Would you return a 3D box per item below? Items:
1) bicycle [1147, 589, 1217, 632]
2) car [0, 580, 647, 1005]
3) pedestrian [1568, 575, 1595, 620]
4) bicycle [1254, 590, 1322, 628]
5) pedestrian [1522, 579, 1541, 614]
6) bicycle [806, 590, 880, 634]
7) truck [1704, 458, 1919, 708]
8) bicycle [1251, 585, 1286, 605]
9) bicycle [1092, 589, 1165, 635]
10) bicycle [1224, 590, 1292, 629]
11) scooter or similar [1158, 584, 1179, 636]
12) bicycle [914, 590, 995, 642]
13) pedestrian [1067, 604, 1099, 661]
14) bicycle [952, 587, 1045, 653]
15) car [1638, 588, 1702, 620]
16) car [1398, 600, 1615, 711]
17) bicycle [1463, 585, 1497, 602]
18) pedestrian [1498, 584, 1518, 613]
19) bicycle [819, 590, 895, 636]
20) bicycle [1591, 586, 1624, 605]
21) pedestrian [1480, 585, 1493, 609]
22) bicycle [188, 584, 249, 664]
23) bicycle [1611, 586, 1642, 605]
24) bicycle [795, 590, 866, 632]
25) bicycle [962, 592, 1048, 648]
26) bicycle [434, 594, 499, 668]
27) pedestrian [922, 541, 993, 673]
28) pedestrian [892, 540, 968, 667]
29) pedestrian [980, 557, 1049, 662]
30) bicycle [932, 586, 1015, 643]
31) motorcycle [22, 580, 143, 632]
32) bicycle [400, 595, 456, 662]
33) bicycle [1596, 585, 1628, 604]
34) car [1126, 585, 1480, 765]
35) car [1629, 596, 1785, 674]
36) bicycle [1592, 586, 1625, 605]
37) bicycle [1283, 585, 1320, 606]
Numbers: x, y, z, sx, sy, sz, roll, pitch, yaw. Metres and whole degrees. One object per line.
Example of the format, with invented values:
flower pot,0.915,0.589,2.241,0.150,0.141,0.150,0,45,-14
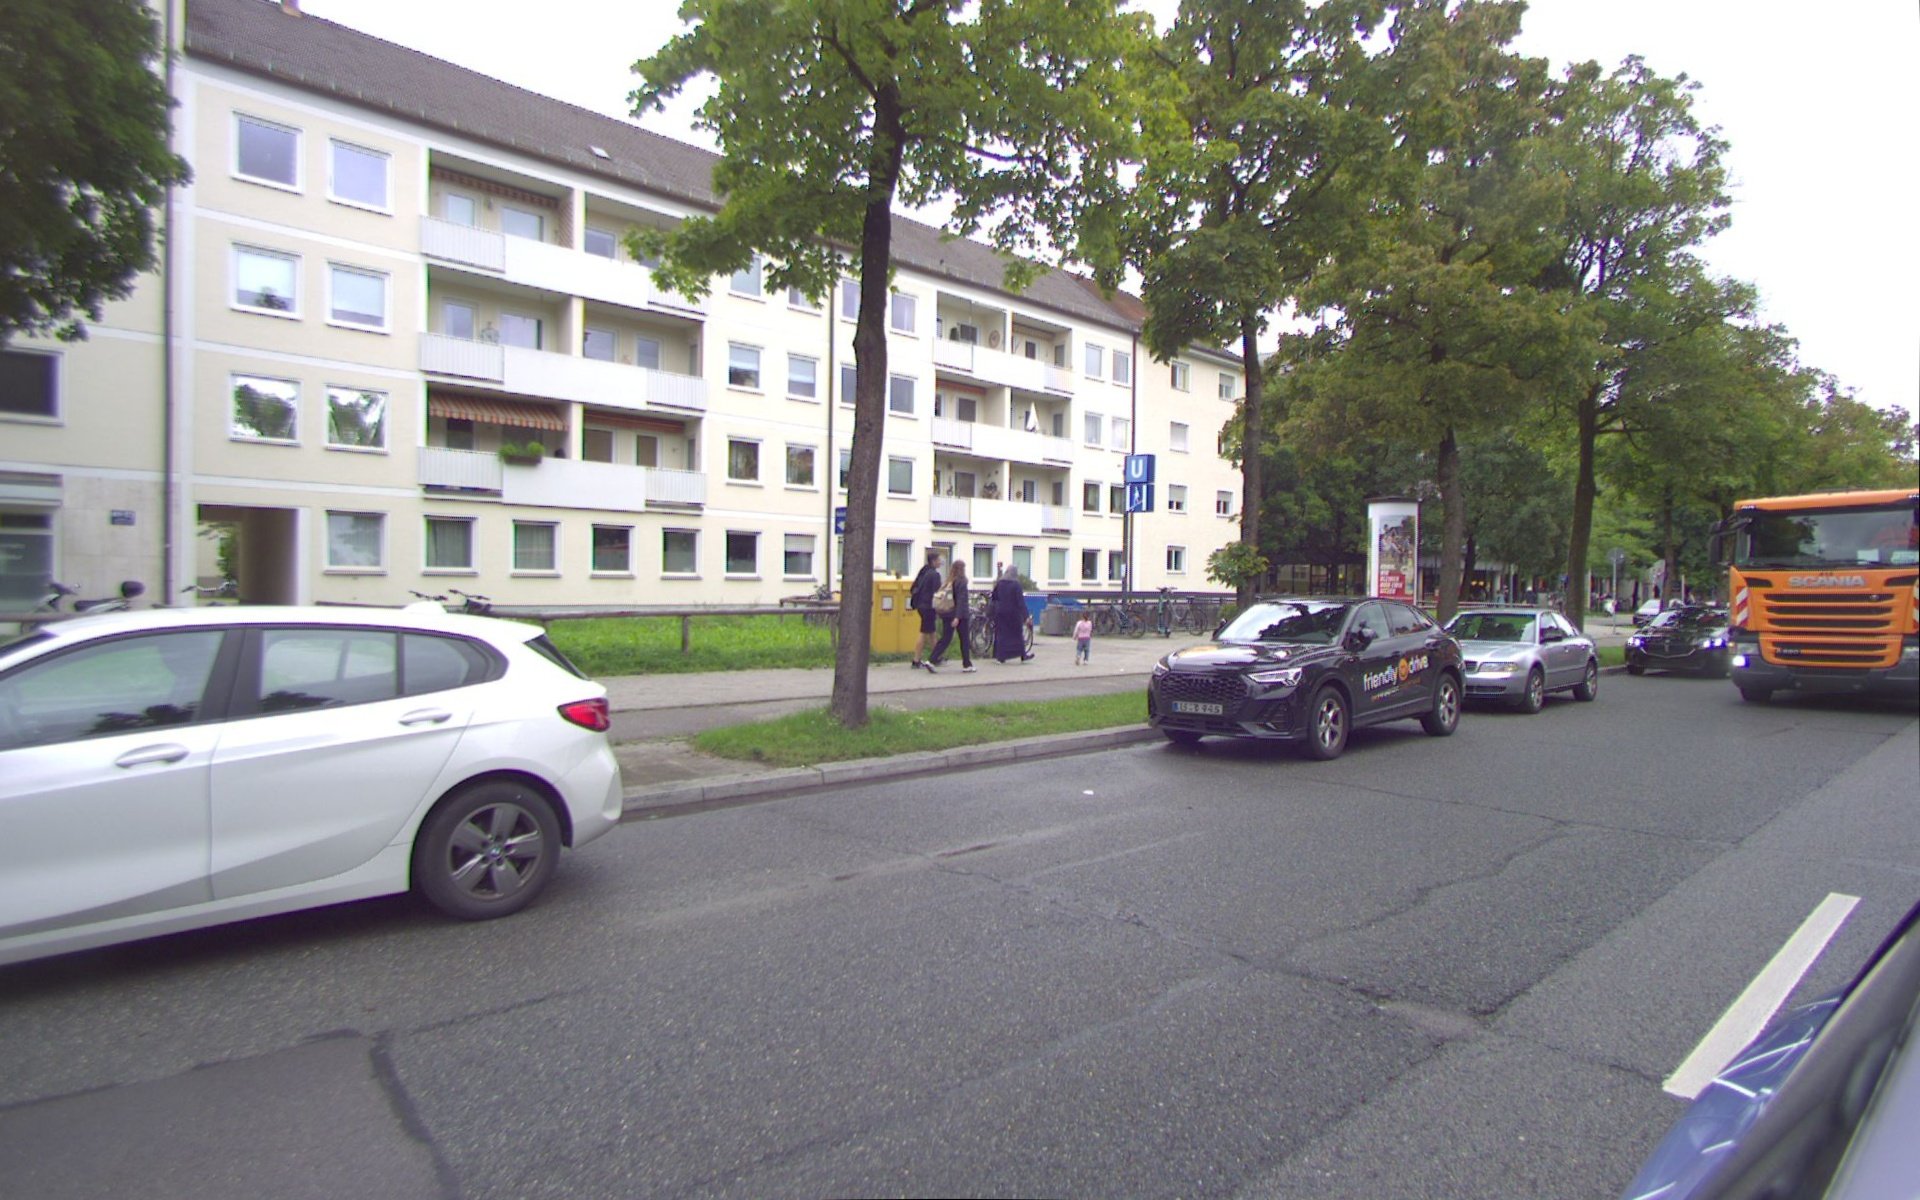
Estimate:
bicycle,5.839,0.260,26.681,0.425,1.041,1.879,0,2,-43
car,-3.660,0.689,4.421,4.066,1.484,1.684,0,-1,-42
pedestrian,24.773,-0.093,40.330,0.835,1.771,0.640,1,2,-43
bicycle,9.676,0.248,29.868,1.876,1.041,0.426,3,2,42
pedestrian,28.558,-0.169,50.572,0.628,1.752,0.602,0,0,-21
bicycle,-2.863,0.286,24.870,1.850,1.041,0.432,0,2,-41
truck,15.239,-0.232,16.651,8.975,3.229,3.043,0,0,-42
bicycle,15.853,-0.266,52.007,0.448,0.983,1.693,1,1,-44
bicycle,4.145,0.281,25.014,0.425,1.041,1.879,0,2,-43
bicycle,8.535,0.251,29.052,0.425,1.041,1.879,0,2,-43
scooter or similar,5.175,0.237,25.148,0.352,1.215,1.388,1,2,6
bicycle,-0.096,0.324,21.398,1.850,1.041,0.432,0,2,-41
pedestrian,2.099,0.550,17.335,0.400,0.961,0.436,1,1,-13
bicycle,0.714,0.353,18.338,1.850,1.147,0.432,1,1,-41
car,39.182,0.182,55.831,4.122,1.654,1.826,0,2,-39
car,8.109,0.709,14.849,4.174,1.403,1.637,0,0,-44
bicycle,36.268,-0.430,70.650,0.447,1.134,2.079,1,1,-41
pedestrian,30.122,-0.076,55.631,0.568,1.594,0.783,0,0,-21
bicycle,-2.424,0.294,24.021,1.850,1.041,0.432,0,2,-41
bicycle,56.202,-0.405,87.885,0.638,1.551,2.312,0,1,-41
pedestrian,35.225,-0.176,67.738,0.625,1.561,0.655,3,3,25
bicycle,-9.494,0.283,12.935,0.548,0.951,1.881,0,0,-39
bicycle,60.964,-0.399,92.562,2.298,1.643,0.642,1,1,33
bicycle,-3.321,0.276,26.003,1.850,1.041,0.432,0,2,-41
bicycle,0.888,0.379,19.689,1.850,1.041,0.432,0,2,-41
bicycle,-7.041,0.403,14.395,0.425,0.986,1.881,0,0,-39
pedestrian,-0.035,0.090,15.166,0.886,1.913,0.589,0,1,-42
pedestrian,-0.461,0.033,15.798,0.903,1.913,0.730,0,2,-42
pedestrian,0.914,0.139,16.963,0.836,1.702,0.824,2,1,36
bicycle,0.288,0.285,20.799,1.850,1.115,0.432,0,2,-41
motorcycle,-18.149,0.117,20.982,1.873,1.036,0.605,0,0,-41
bicycle,-8.376,0.415,15.900,0.425,0.986,1.881,0,0,-39
bicycle,57.491,-0.467,89.265,0.638,1.643,2.312,1,1,-41
car,3.782,0.646,10.777,4.201,1.552,1.719,0,0,-41
car,15.850,0.675,21.405,4.102,1.484,1.754,0,0,-40
bicycle,56.810,-0.413,88.696,0.638,1.643,2.312,1,1,-41
bicycle,17.111,-0.247,50.742,0.448,0.983,1.693,1,1,-44
